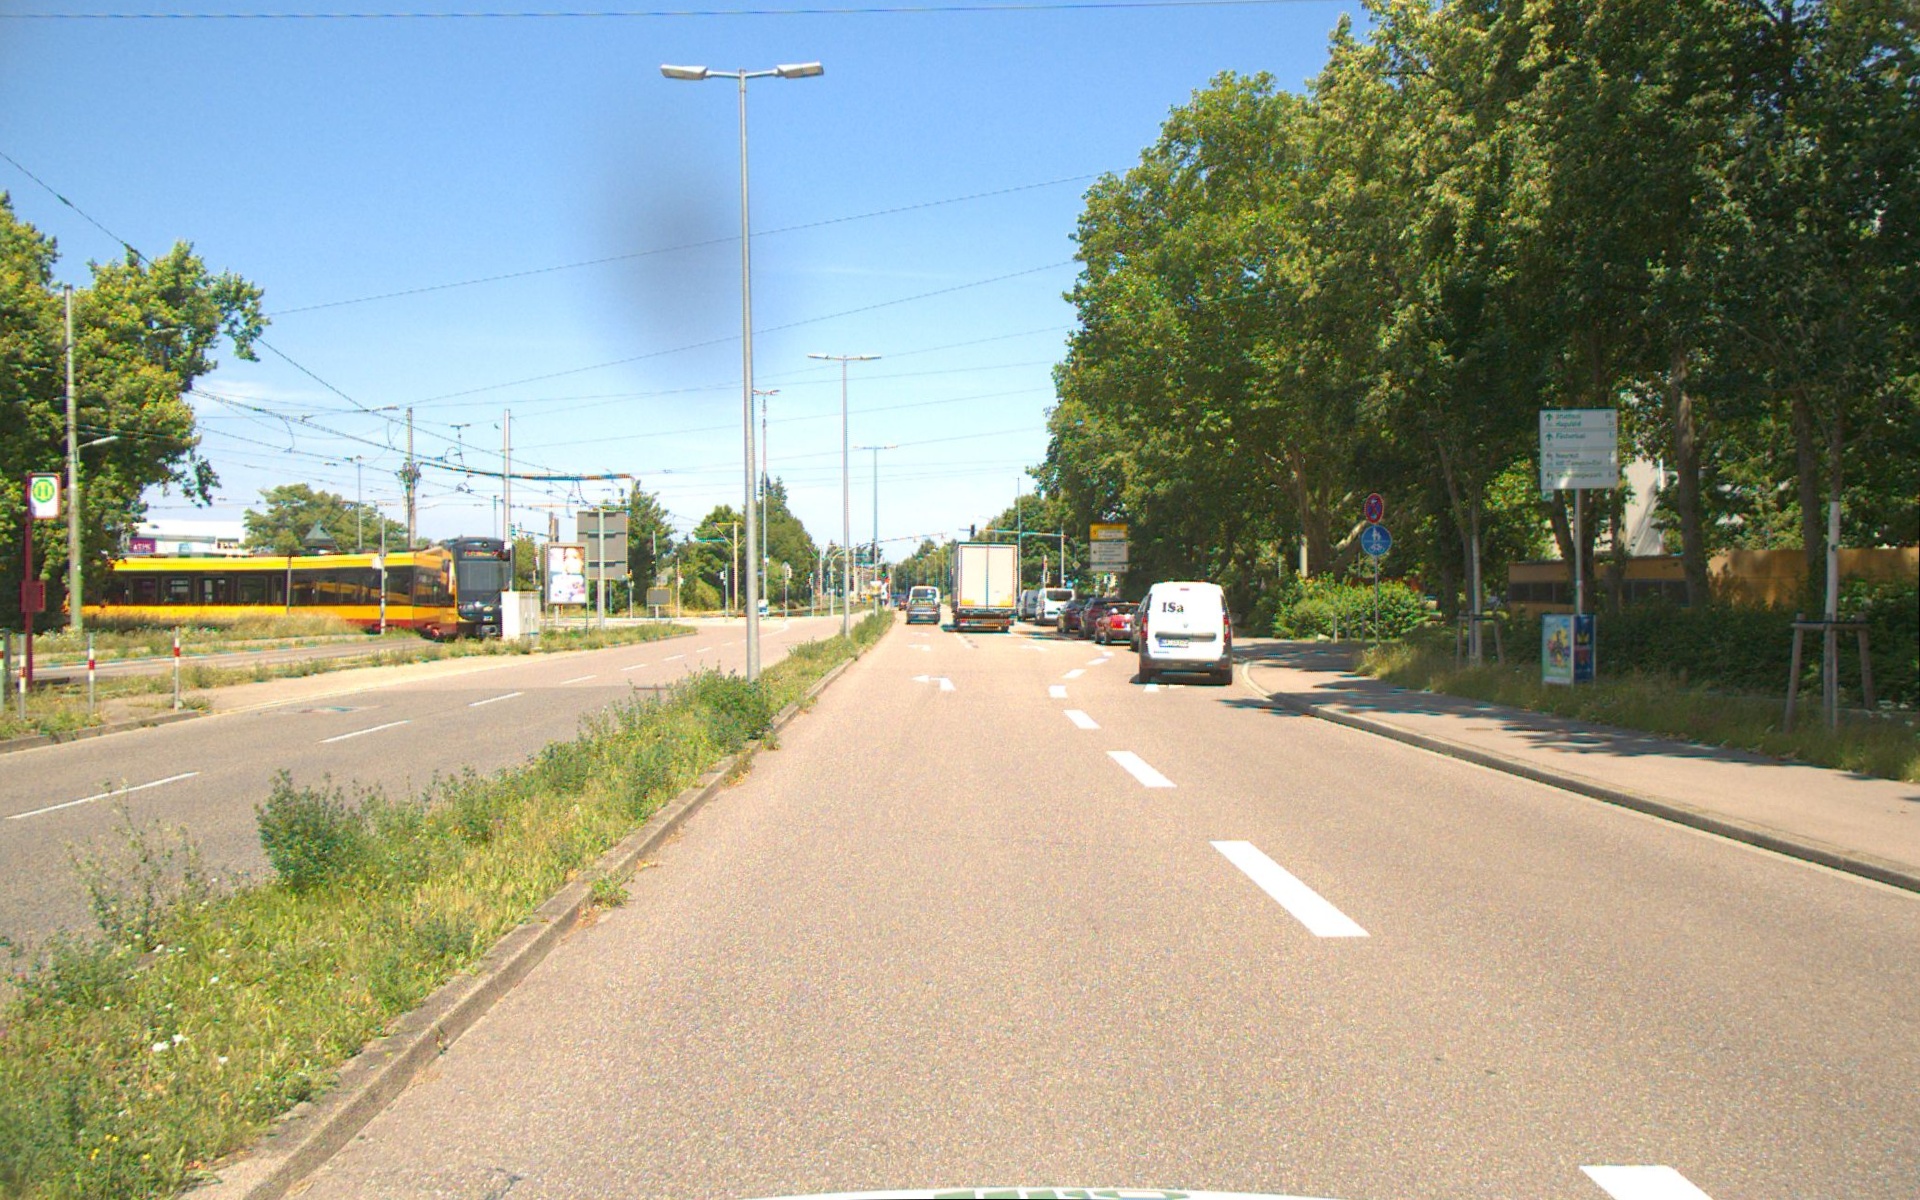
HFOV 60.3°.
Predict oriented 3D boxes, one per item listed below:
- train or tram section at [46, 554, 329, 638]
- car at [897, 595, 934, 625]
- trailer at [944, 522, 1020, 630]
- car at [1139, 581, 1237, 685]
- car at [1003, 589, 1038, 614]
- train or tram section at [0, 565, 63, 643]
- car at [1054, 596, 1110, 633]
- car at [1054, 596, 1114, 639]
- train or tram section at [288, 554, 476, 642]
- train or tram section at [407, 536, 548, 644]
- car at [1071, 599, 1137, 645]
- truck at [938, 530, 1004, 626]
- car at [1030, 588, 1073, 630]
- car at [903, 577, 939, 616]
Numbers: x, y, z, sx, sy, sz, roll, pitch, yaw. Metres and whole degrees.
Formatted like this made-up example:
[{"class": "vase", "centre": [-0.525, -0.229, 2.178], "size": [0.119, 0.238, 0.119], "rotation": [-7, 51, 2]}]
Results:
[{"class": "train or tram section", "centre": [-35.170, -0.235, 75.331], "size": [12.438, 3.526, 3.049], "rotation": [1, 0, 13]}, {"class": "car", "centre": [-2.388, 0.548, 87.774], "size": [1.854, 1.396, 4.427], "rotation": [2, -2, -2]}, {"class": "trailer", "centre": [0.884, -1.020, 73.750], "size": [2.771, 4.499, 8.744], "rotation": [1, 0, -3]}, {"class": "car", "centre": [4.237, 0.564, 30.971], "size": [1.673, 1.778, 4.430], "rotation": [1, 0, 7]}, {"class": "car", "centre": [3.698, 0.066, 101.632], "size": [1.953, 1.462, 4.251], "rotation": [0, 1, -1]}, {"class": "train or tram section", "centre": [-47.581, 0.109, 74.383], "size": [12.553, 3.526, 3.021], "rotation": [1, 0, -27]}, {"class": "car", "centre": [5.347, 0.625, 72.929], "size": [1.953, 1.529, 4.500], "rotation": [0, 1, -2]}, {"class": "car", "centre": [4.765, 0.665, 63.890], "size": [1.821, 1.576, 3.885], "rotation": [1, 0, -3]}, {"class": "train or tram section", "centre": [-24.743, -0.152, 70.435], "size": [10.040, 3.526, 3.028], "rotation": [1, 0, 42]}, {"class": "train or tram section", "centre": [-17.920, -0.395, 60.620], "size": [2.998, 3.526, 13.187], "rotation": [1, 0, -25]}, {"class": "car", "centre": [4.711, 0.702, 54.654], "size": [1.622, 1.421, 4.265], "rotation": [1, 0, -3]}, {"class": "truck", "centre": [0.468, -1.105, 82.299], "size": [2.770, 4.420, 8.280], "rotation": [2, 1, -3]}, {"class": "car", "centre": [4.867, 0.467, 88.289], "size": [1.853, 2.158, 3.885], "rotation": [1, 0, -3]}, {"class": "car", "centre": [-2.281, -0.231, 95.605], "size": [1.954, 2.148, 4.744], "rotation": [0, 1, -4]}]
